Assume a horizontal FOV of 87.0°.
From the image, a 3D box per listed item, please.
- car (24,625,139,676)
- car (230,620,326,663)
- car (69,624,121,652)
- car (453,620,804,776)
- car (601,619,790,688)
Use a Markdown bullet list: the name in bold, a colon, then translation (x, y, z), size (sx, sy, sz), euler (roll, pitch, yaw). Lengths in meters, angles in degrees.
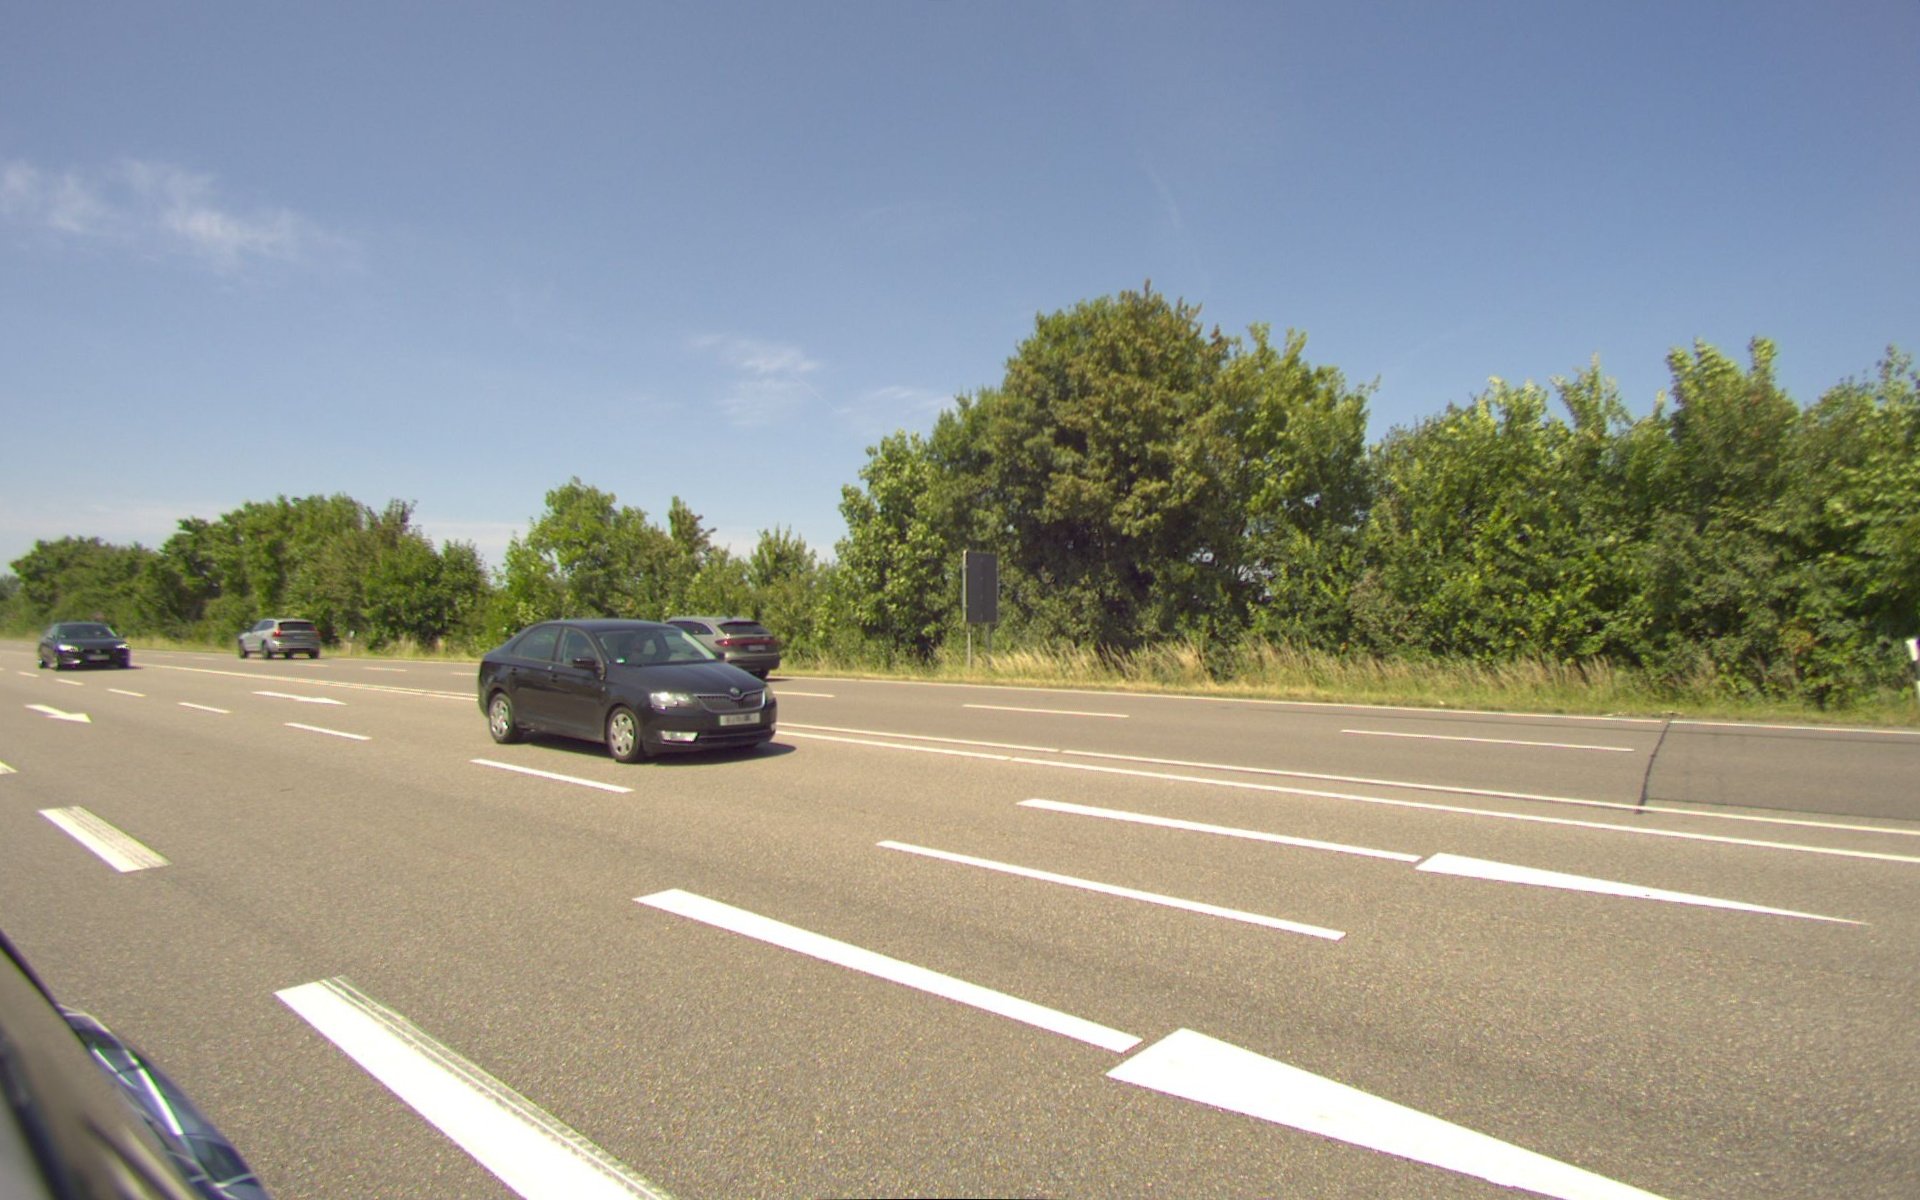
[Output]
- **car**: translation (-27.592, 1.529, 31.746), size (4.519, 1.458, 1.871), euler (-1, -1, 38)
- **car**: translation (-28.015, 1.666, 41.544), size (4.563, 1.652, 2.008), euler (-1, -1, 38)
- **car**: translation (-49.207, 2.153, 57.569), size (3.554, 1.499, 1.629), euler (-1, -1, 38)
- **car**: translation (-3.879, 0.946, 11.411), size (4.463, 1.422, 1.658), euler (-1, -1, 40)
- **car**: translation (-6.105, 1.156, 23.086), size (4.526, 1.409, 1.860), euler (-1, -1, 39)
